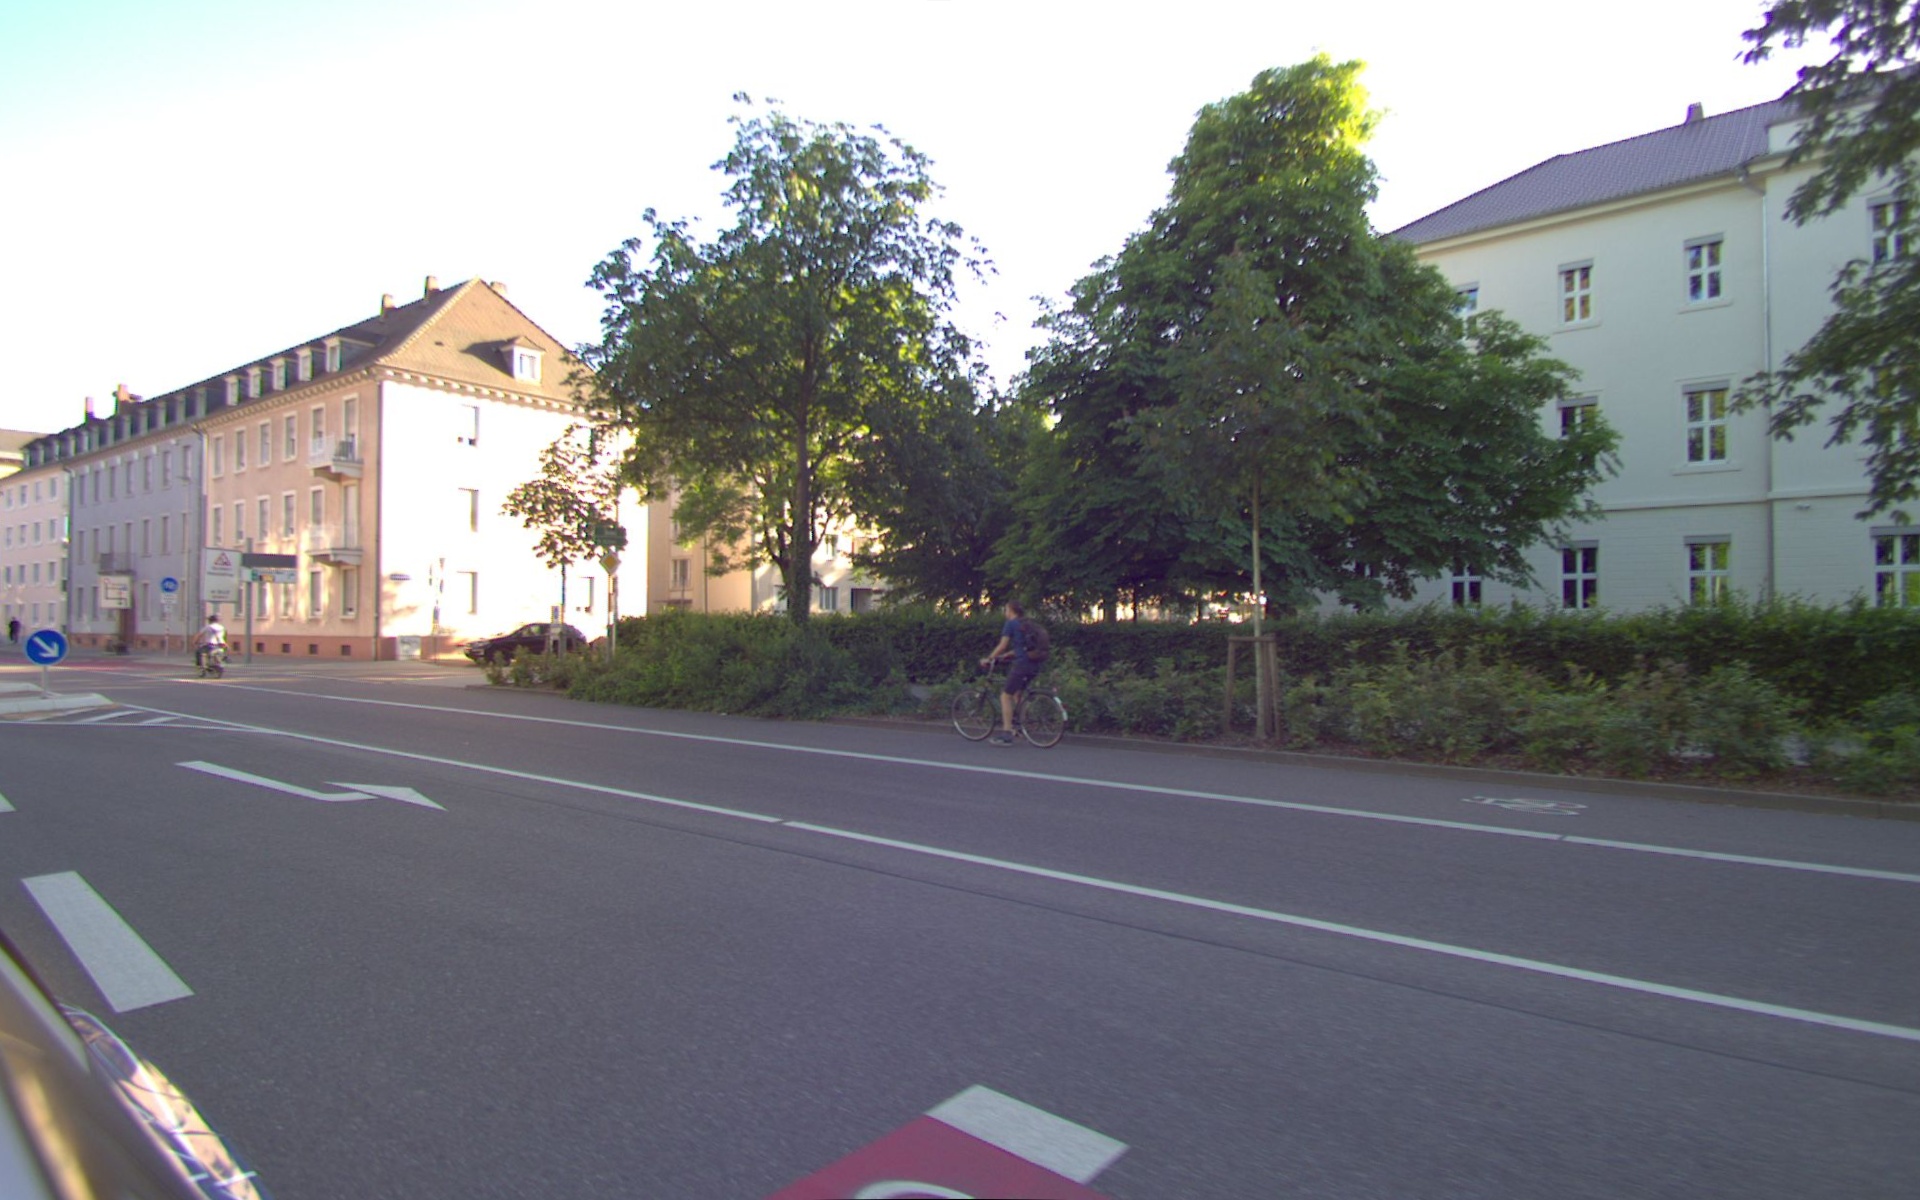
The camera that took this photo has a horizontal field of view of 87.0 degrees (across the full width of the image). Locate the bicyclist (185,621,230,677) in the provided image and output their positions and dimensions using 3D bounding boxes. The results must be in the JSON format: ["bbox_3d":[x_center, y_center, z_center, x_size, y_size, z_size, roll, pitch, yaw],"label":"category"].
[{"bbox_3d":[-19.815,1.294,26.637,0.970,1.429,0.639,-2,-6,39],"label":"bicyclist"}]

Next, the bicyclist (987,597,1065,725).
[{"bbox_3d":[0.828,0.765,12.695,0.724,1.534,0.623,-2,-6,39],"label":"bicyclist"}]

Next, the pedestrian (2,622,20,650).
[{"bbox_3d":[-63.230,2.389,67.433,1.010,1.860,0.626,-1,1,34],"label":"pedestrian"}]

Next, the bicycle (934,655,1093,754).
[{"bbox_3d":[0.646,1.290,12.797,2.025,1.129,0.591,-1,-6,39],"label":"bicycle"}]

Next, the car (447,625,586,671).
[{"bbox_3d":[-17.307,1.857,39.652,2.060,1.691,4.526,-2,-3,42],"label":"car"}]

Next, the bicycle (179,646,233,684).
[{"bbox_3d":[-19.876,1.695,26.653,2.177,0.928,0.610,-1,-3,39],"label":"bicycle"}]
